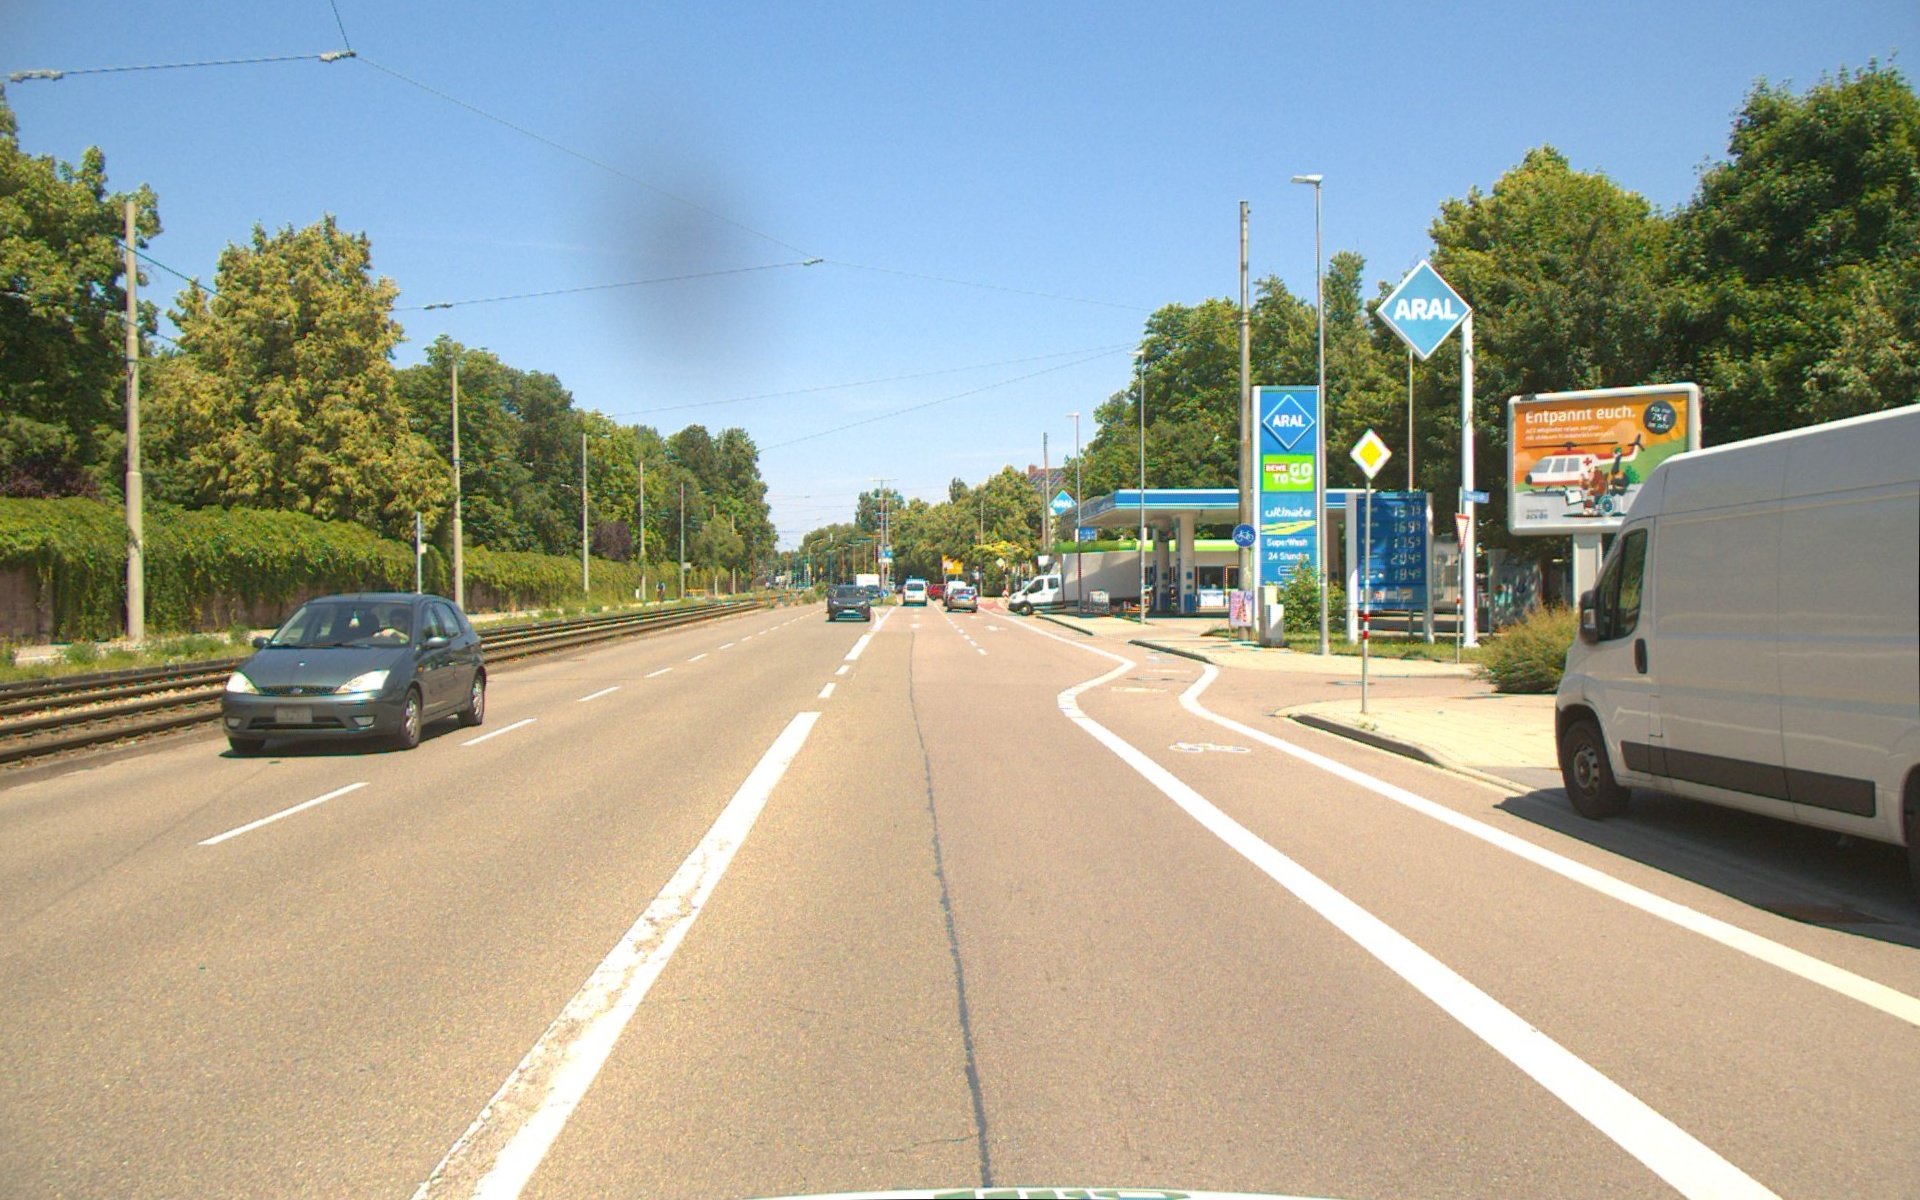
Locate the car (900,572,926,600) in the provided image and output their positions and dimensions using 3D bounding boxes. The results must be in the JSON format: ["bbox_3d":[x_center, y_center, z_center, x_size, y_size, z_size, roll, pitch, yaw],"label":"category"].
[{"bbox_3d":[-3.429,-1.008,119.641,1.720,1.907,4.322,-2,1,-2],"label":"car"}]

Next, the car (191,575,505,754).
[{"bbox_3d":[-6.079,0.558,17.000,1.720,1.535,4.322,-2,1,-2],"label":"car"}]

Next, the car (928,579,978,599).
[{"bbox_3d":[-0.654,-0.992,151.528,4.232,1.688,1.757,-2,1,32],"label":"car"}]

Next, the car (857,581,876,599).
[{"bbox_3d":[-9.030,-0.940,159.614,1.721,1.659,4.321,-2,1,-3],"label":"car"}]

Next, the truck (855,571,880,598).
[{"bbox_3d":[-9.480,-1.594,169.615,2.483,2.725,11.810,0,1,-3],"label":"truck"}]

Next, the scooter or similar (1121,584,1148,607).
[{"bbox_3d":[10.301,-0.277,97.796,1.522,1.351,0.536,0,0,-4],"label":"scooter or similar"}]

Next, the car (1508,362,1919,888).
[{"bbox_3d":[5.427,0.073,9.797,1.961,2.499,6.105,-2,1,-3],"label":"car"}]

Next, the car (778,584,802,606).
[{"bbox_3d":[-13.582,-0.393,132.038,1.723,1.659,4.317,-2,1,-7],"label":"car"}]

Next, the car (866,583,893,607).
[{"bbox_3d":[-5.717,-0.376,117.387,1.720,1.659,4.323,-2,1,-1],"label":"car"}]

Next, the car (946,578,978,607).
[{"bbox_3d":[0.125,-0.459,100.690,1.720,1.659,4.322,-2,1,-2],"label":"car"}]

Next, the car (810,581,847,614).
[{"bbox_3d":[-7.117,-0.135,89.479,1.723,1.659,4.317,-2,1,-7],"label":"car"}]

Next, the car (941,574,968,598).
[{"bbox_3d":[-0.436,-0.998,120.812,1.720,1.659,4.322,-2,1,-2],"label":"car"}]

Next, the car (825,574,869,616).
[{"bbox_3d":[-4.780,-0.234,70.340,1.720,1.659,4.322,-2,1,-2],"label":"car"}]

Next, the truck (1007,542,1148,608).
[{"bbox_3d":[6.717,-1.415,94.204,7.797,3.665,2.665,0,1,9],"label":"truck"}]
